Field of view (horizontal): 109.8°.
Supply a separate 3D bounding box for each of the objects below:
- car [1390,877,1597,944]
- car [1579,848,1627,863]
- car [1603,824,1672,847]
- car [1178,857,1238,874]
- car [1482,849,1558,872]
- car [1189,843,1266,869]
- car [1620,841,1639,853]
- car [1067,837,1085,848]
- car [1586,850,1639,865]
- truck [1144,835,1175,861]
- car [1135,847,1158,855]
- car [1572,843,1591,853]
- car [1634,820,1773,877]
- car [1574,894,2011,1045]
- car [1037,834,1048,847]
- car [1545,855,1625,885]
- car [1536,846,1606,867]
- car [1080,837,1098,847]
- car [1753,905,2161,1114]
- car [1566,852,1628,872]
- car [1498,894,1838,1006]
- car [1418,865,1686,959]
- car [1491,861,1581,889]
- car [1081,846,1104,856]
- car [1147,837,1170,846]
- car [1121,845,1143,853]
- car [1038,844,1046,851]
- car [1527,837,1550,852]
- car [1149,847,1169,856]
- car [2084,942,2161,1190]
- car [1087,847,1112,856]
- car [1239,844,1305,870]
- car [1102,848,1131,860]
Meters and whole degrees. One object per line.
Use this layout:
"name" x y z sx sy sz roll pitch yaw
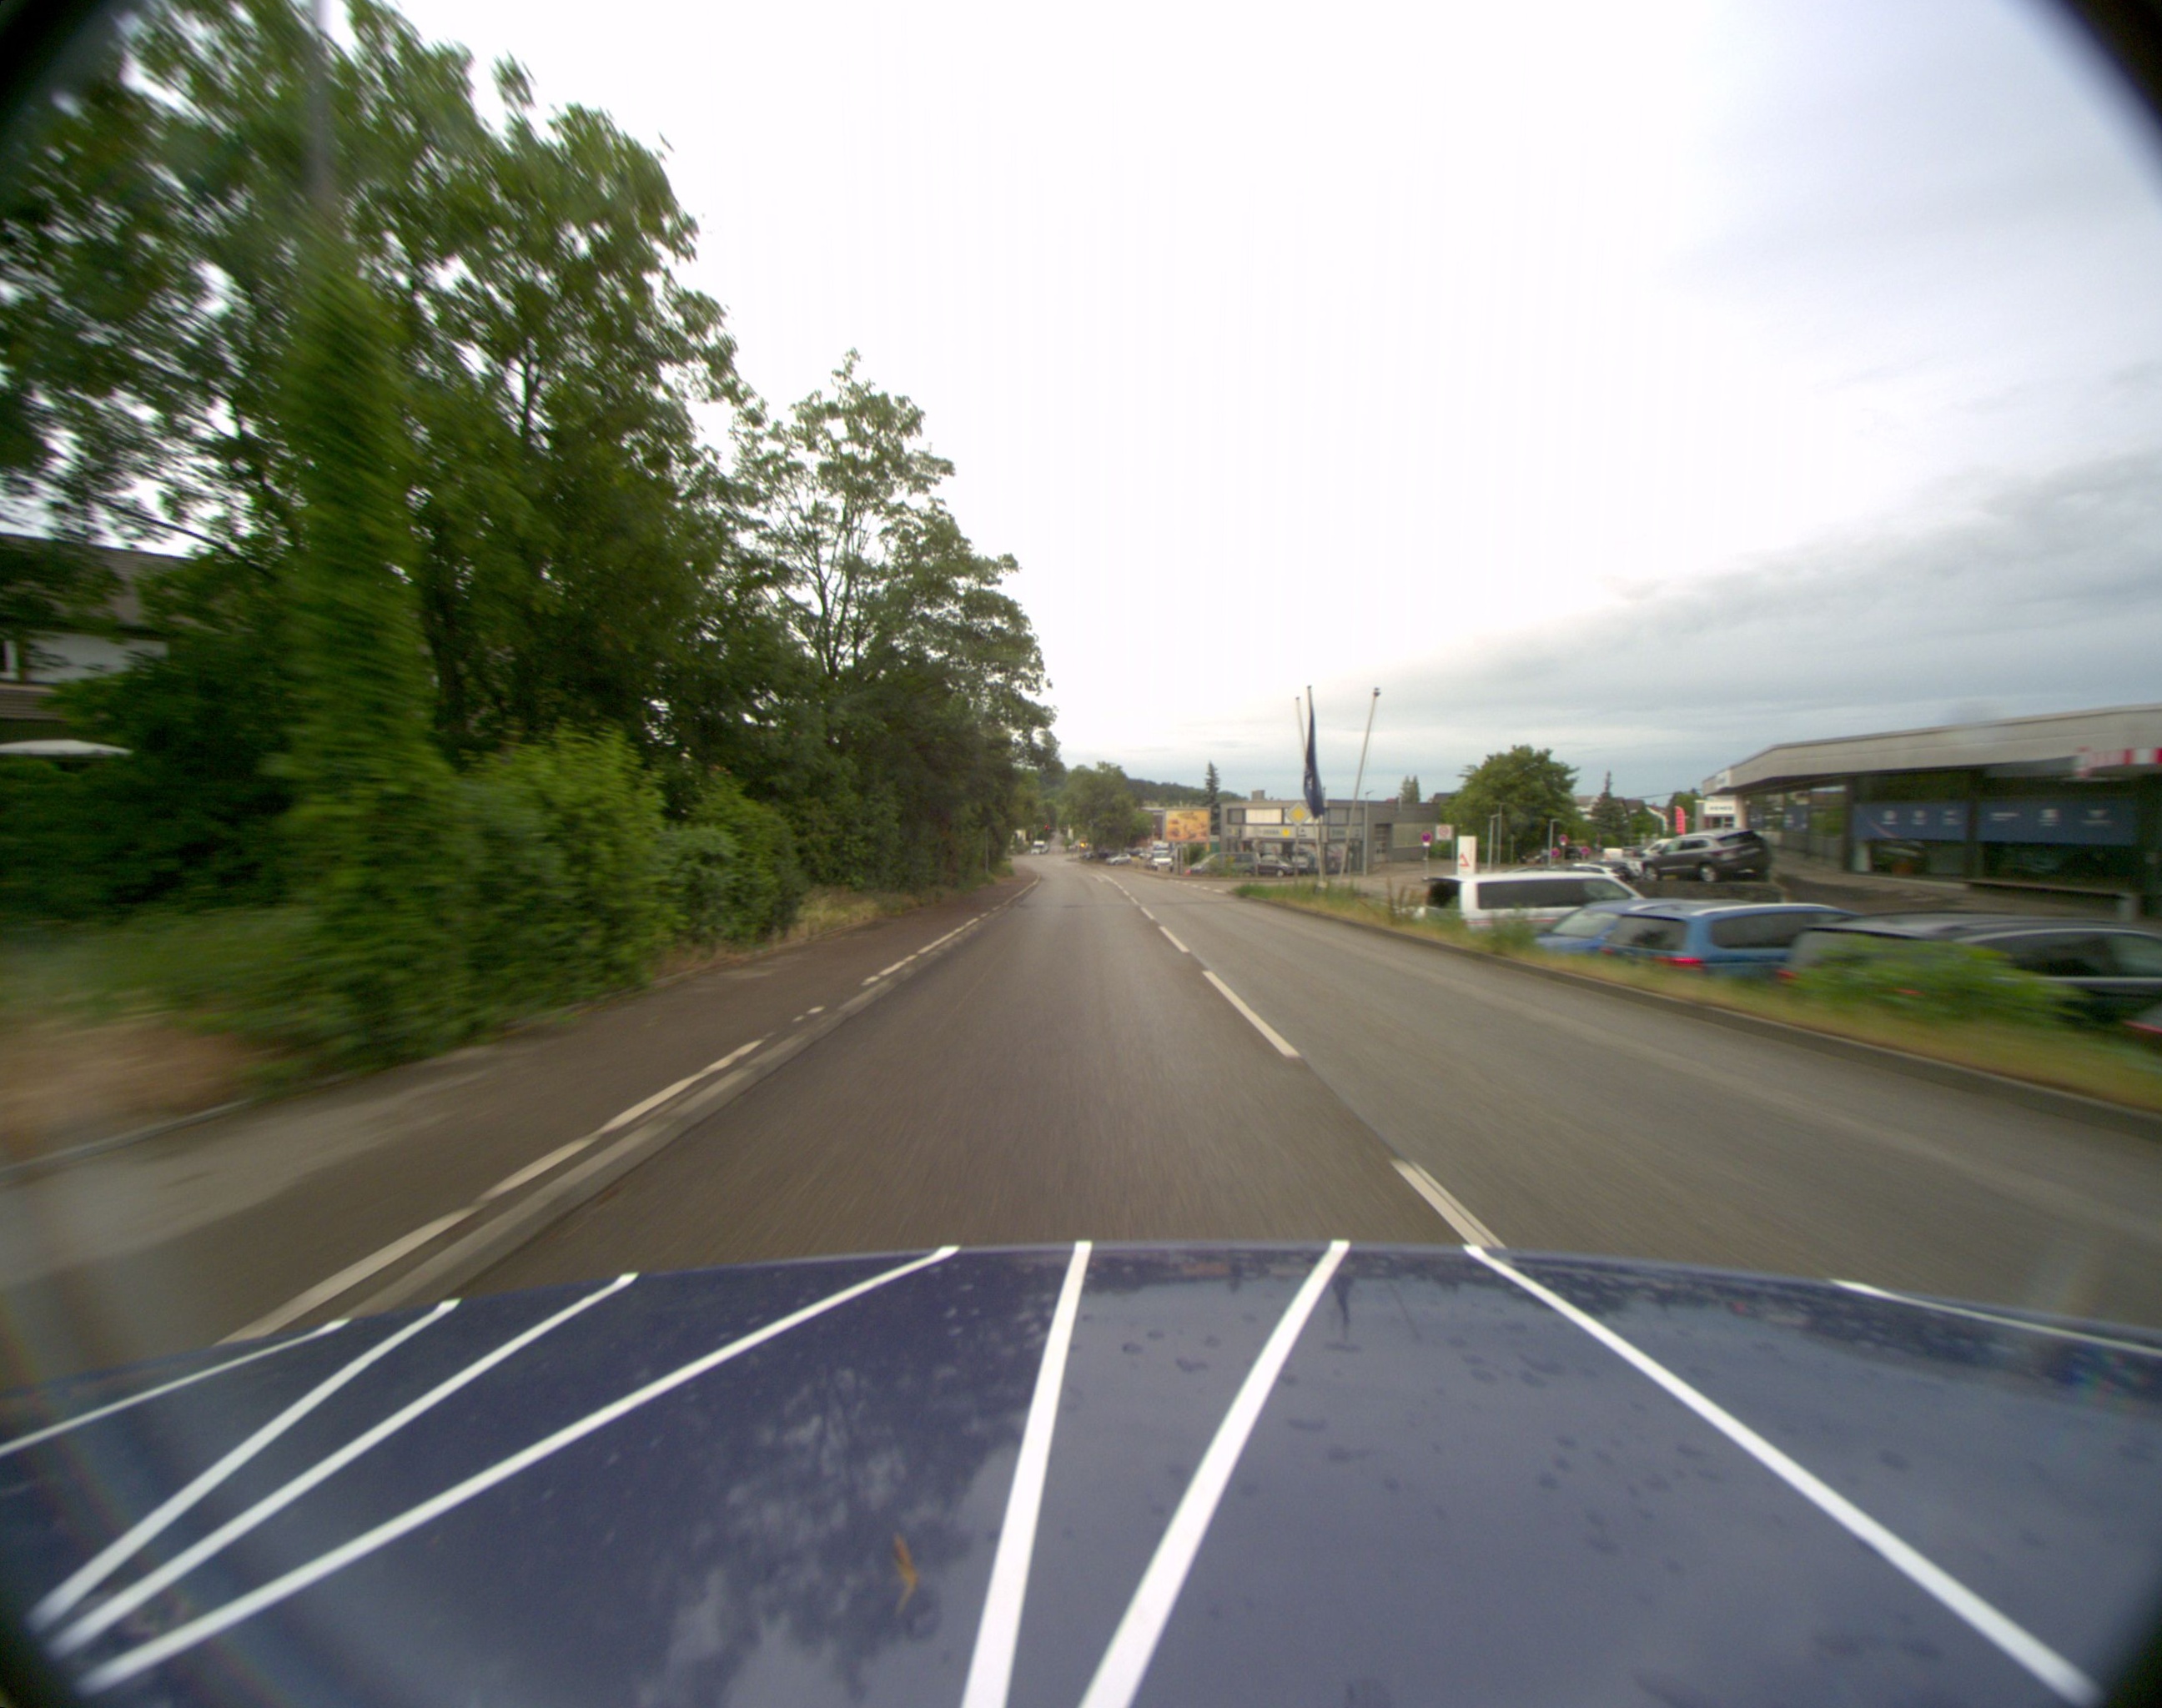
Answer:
"car" 9.831 1.315 18.333 4.019 1.469 1.823 0 1 -1
"car" 42.450 0.102 61.870 3.055 1.181 1.384 0 1 25
"car" 60.567 -2.039 82.764 2.151 2.356 5.861 -4 3 -45
"car" 9.675 0.857 58.045 4.107 1.260 1.767 0 1 -13
"car" 27.518 0.399 47.748 3.980 1.419 1.783 0 1 25
"car" 10.515 0.121 54.590 5.084 1.860 1.821 0 1 -8
"car" 66.915 -0.845 92.679 1.506 1.451 3.443 0 1 43
"car" -1.133 -2.492 168.716 1.774 2.094 4.369 -3 6 -39
"car" 41.701 0.286 59.692 3.253 1.172 1.453 0 1 25
"truck" 8.246 -0.695 80.614 1.999 2.618 7.888 0 1 -3
"car" 12.302 -0.631 142.768 1.794 1.444 4.031 -2 3 -41
"car" 58.626 -0.704 89.028 1.377 1.181 3.069 0 1 43
"car" 21.340 -0.218 26.279 1.402 1.790 4.251 0 1 2
"car" 9.820 1.521 10.756 4.424 1.787 2.001 0 1 -3
"car" -9.284 -3.429 185.277 2.575 2.759 6.122 1 5 -2
"car" 31.812 0.990 48.090 3.980 1.778 1.823 0 1 25
"car" 34.832 0.168 54.116 3.980 1.419 1.847 0 1 25
"car" 1.908 -2.779 174.104 1.774 2.094 4.208 -3 6 -40
"car" 10.042 1.509 8.078 4.238 1.787 1.874 0 1 -3
"car" 37.962 0.547 55.983 3.583 1.419 1.586 0 1 25
"car" 10.045 1.596 13.282 4.424 1.685 2.002 0 1 -1
"car" 9.671 1.156 15.876 4.424 1.787 1.934 0 1 -1
"car" 25.127 1.129 42.105 4.095 1.419 1.893 0 1 25
"car" 2.001 -0.524 128.949 3.768 1.559 1.671 0 2 -3
"car" 17.428 -2.835 170.634 5.266 2.075 2.047 0 2 -40
"car" 9.510 -0.895 142.393 1.794 1.444 4.031 -2 3 -41
"car" -8.628 -1.533 168.221 1.770 1.460 3.997 0 2 -5
"car" 47.254 -0.980 78.508 1.402 1.538 3.222 1 1 43
"car" 13.059 -0.422 126.693 1.785 1.501 4.051 1 2 32
"car" 10.140 1.596 5.209 4.238 1.787 1.874 0 1 -3
"car" 3.085 -0.417 126.190 3.896 1.559 1.671 0 2 -6
"car" 15.701 0.262 62.567 4.864 1.976 2.004 -2 0 45
"car" 5.256 -0.052 112.083 4.015 1.561 1.716 -3 3 -39
